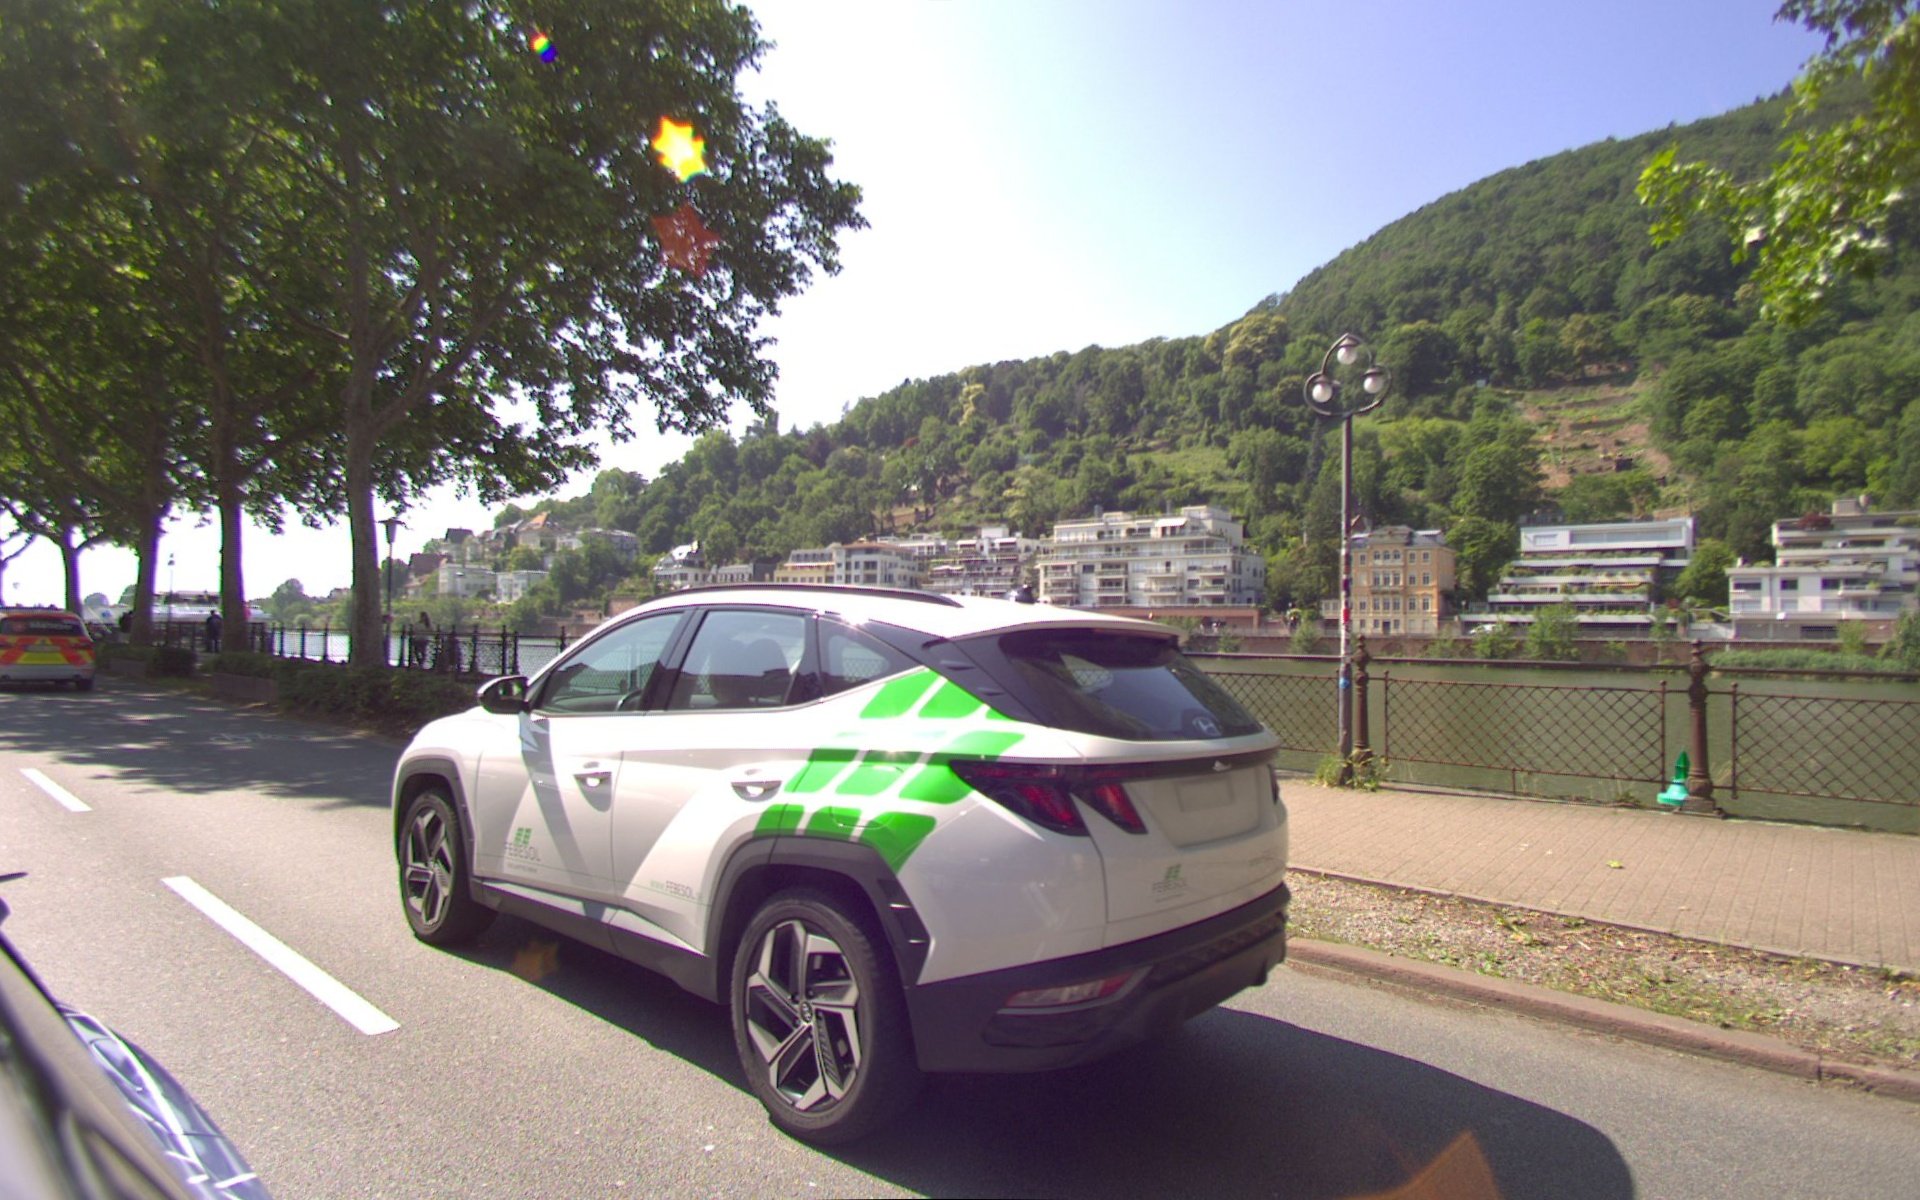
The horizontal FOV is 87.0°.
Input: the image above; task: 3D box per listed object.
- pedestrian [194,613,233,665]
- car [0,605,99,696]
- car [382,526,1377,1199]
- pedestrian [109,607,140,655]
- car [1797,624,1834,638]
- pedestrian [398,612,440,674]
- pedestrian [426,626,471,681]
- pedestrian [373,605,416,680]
[{"bbox_3d":[-30.264,1.563,41.047,1.032,2.029,1.038,0,0,-19],"label":"pedestrian"},{"bbox_3d":[-18.981,0.991,20.486,4.220,1.673,1.656,-1,-5,41],"label":"car"},{"bbox_3d":[-0.622,0.747,4.173,3.997,1.673,1.750,-1,-4,41],"label":"car"},{"bbox_3d":[-33.555,1.235,40.647,0.928,1.863,0.796,0,0,41],"label":"pedestrian"},{"bbox_3d":[125.159,4.537,148.033,3.998,2.029,1.973,-3,-2,41],"label":"car"},{"bbox_3d":[-15.727,1.258,29.424,0.829,1.771,0.767,-1,-4,40],"label":"pedestrian"},{"bbox_3d":[-13.300,1.374,26.333,0.770,1.398,0.758,-1,-3,40],"label":"pedestrian"},{"bbox_3d":[-14.638,1.094,26.183,0.756,1.915,0.771,3,-3,-42],"label":"pedestrian"}]
